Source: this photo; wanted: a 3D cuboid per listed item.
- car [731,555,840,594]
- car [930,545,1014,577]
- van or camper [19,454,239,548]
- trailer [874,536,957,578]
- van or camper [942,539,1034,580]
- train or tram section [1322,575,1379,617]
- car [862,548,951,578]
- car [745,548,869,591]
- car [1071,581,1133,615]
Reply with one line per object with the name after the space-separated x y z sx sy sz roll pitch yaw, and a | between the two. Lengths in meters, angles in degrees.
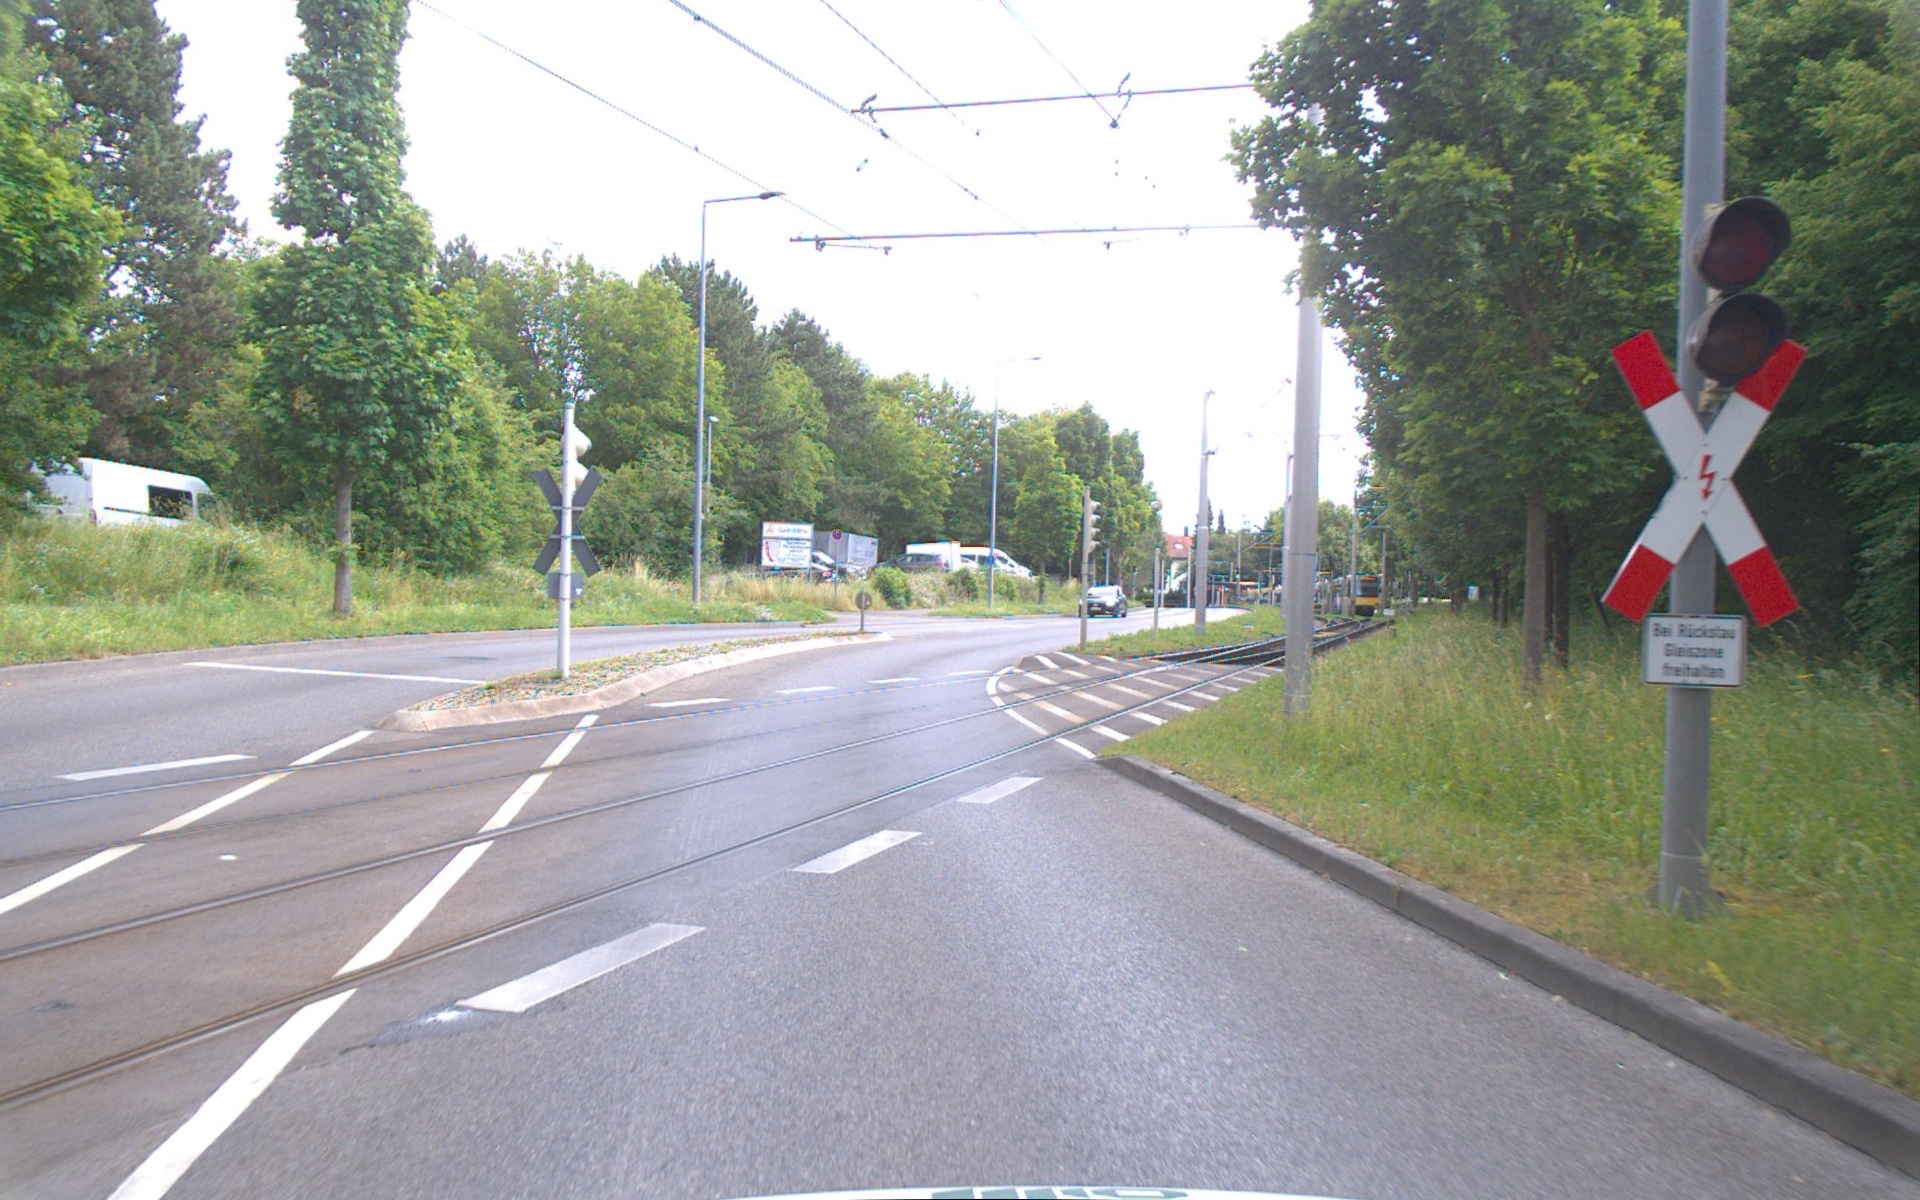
-6.983 -1.022 66.374 3.870 1.421 2.002 2 1 11 | car
0.729 -2.300 98.003 4.547 1.684 2.000 3 1 20 | car
-19.140 -2.247 38.376 1.951 1.910 4.633 2 1 15 | van or camper
-2.319 -2.236 86.508 3.903 2.048 1.909 2 1 16 | trailer
1.704 -2.429 100.393 5.220 2.241 2.002 3 1 13 | van or camper
35.984 -0.530 153.598 2.944 3.368 34.742 3 1 10 | train or tram section
-2.700 -1.856 83.466 4.219 1.474 1.838 0 1 9 | car
-6.587 -1.313 71.423 4.821 1.612 2.209 2 1 12 | car
6.545 -0.113 76.017 1.951 1.463 4.429 1 1 17 | car
